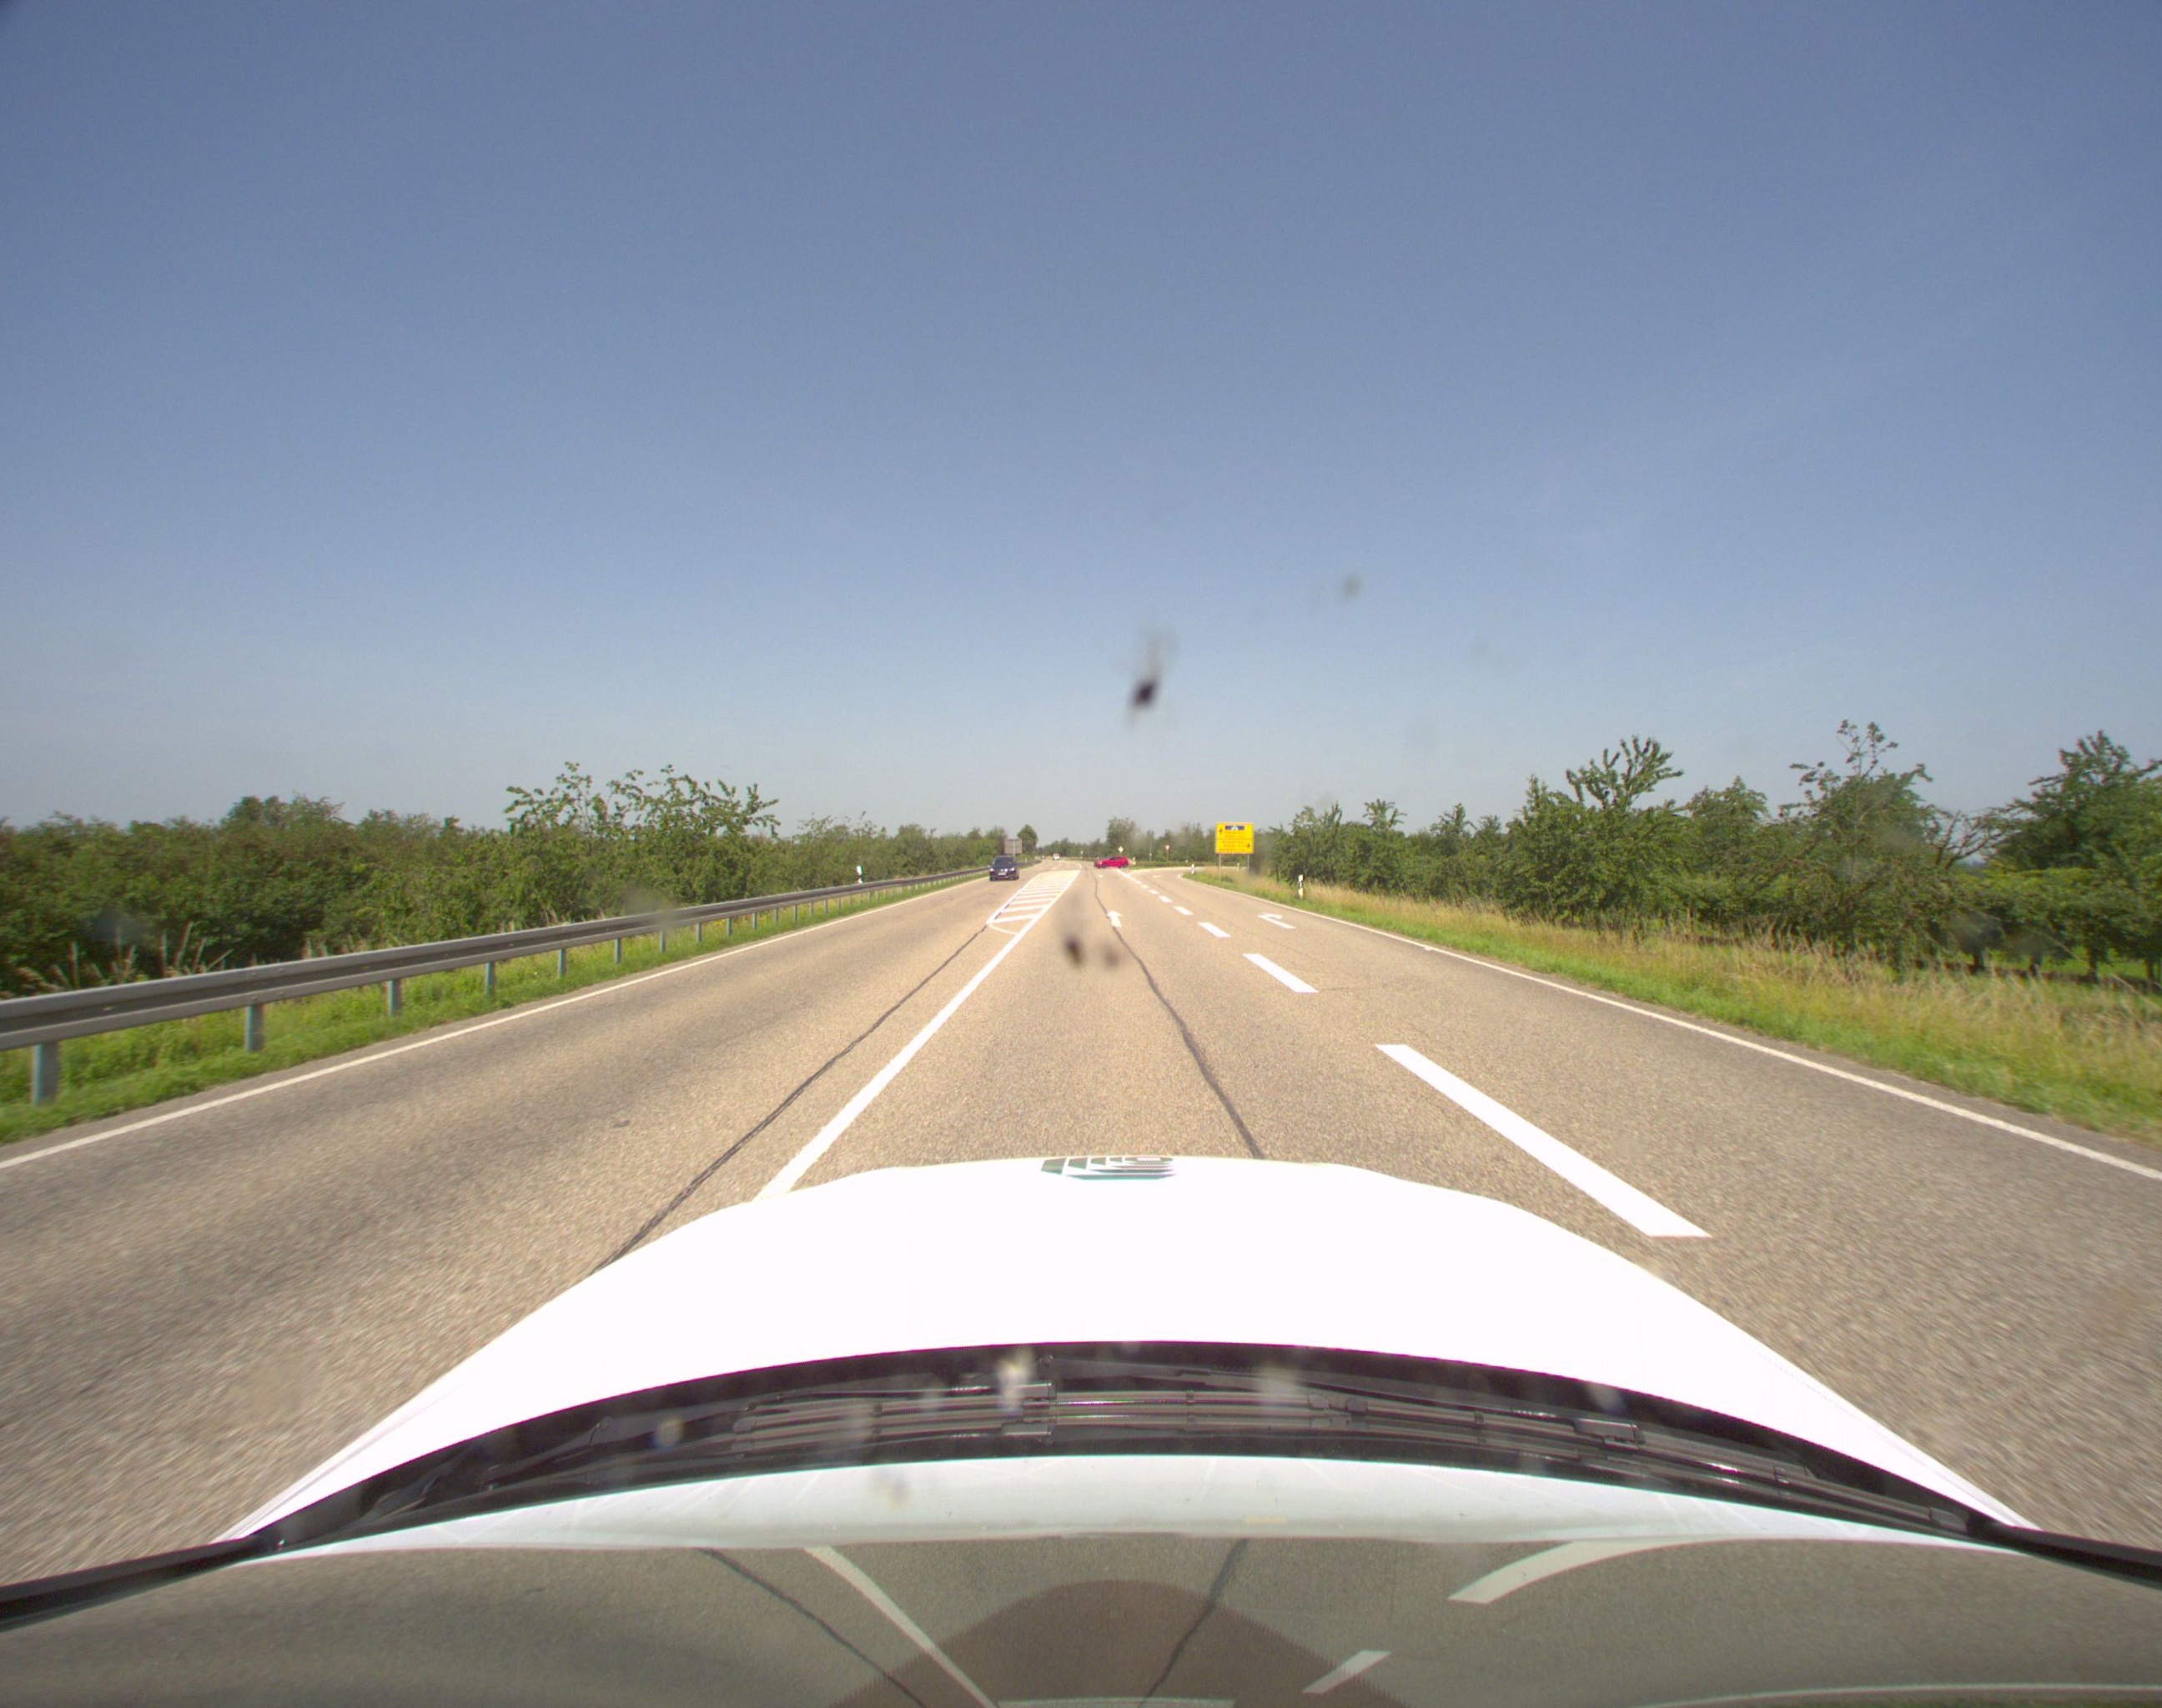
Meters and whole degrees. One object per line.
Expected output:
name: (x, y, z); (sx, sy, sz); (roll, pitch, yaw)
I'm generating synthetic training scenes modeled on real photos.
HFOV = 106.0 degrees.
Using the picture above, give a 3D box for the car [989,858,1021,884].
car: (-5.085, 1.149, 55.095); (1.799, 1.637, 4.805); (-1, -1, -2)

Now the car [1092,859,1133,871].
car: (3.793, 1.314, 97.804); (4.494, 1.449, 1.810); (-1, -1, -19)
